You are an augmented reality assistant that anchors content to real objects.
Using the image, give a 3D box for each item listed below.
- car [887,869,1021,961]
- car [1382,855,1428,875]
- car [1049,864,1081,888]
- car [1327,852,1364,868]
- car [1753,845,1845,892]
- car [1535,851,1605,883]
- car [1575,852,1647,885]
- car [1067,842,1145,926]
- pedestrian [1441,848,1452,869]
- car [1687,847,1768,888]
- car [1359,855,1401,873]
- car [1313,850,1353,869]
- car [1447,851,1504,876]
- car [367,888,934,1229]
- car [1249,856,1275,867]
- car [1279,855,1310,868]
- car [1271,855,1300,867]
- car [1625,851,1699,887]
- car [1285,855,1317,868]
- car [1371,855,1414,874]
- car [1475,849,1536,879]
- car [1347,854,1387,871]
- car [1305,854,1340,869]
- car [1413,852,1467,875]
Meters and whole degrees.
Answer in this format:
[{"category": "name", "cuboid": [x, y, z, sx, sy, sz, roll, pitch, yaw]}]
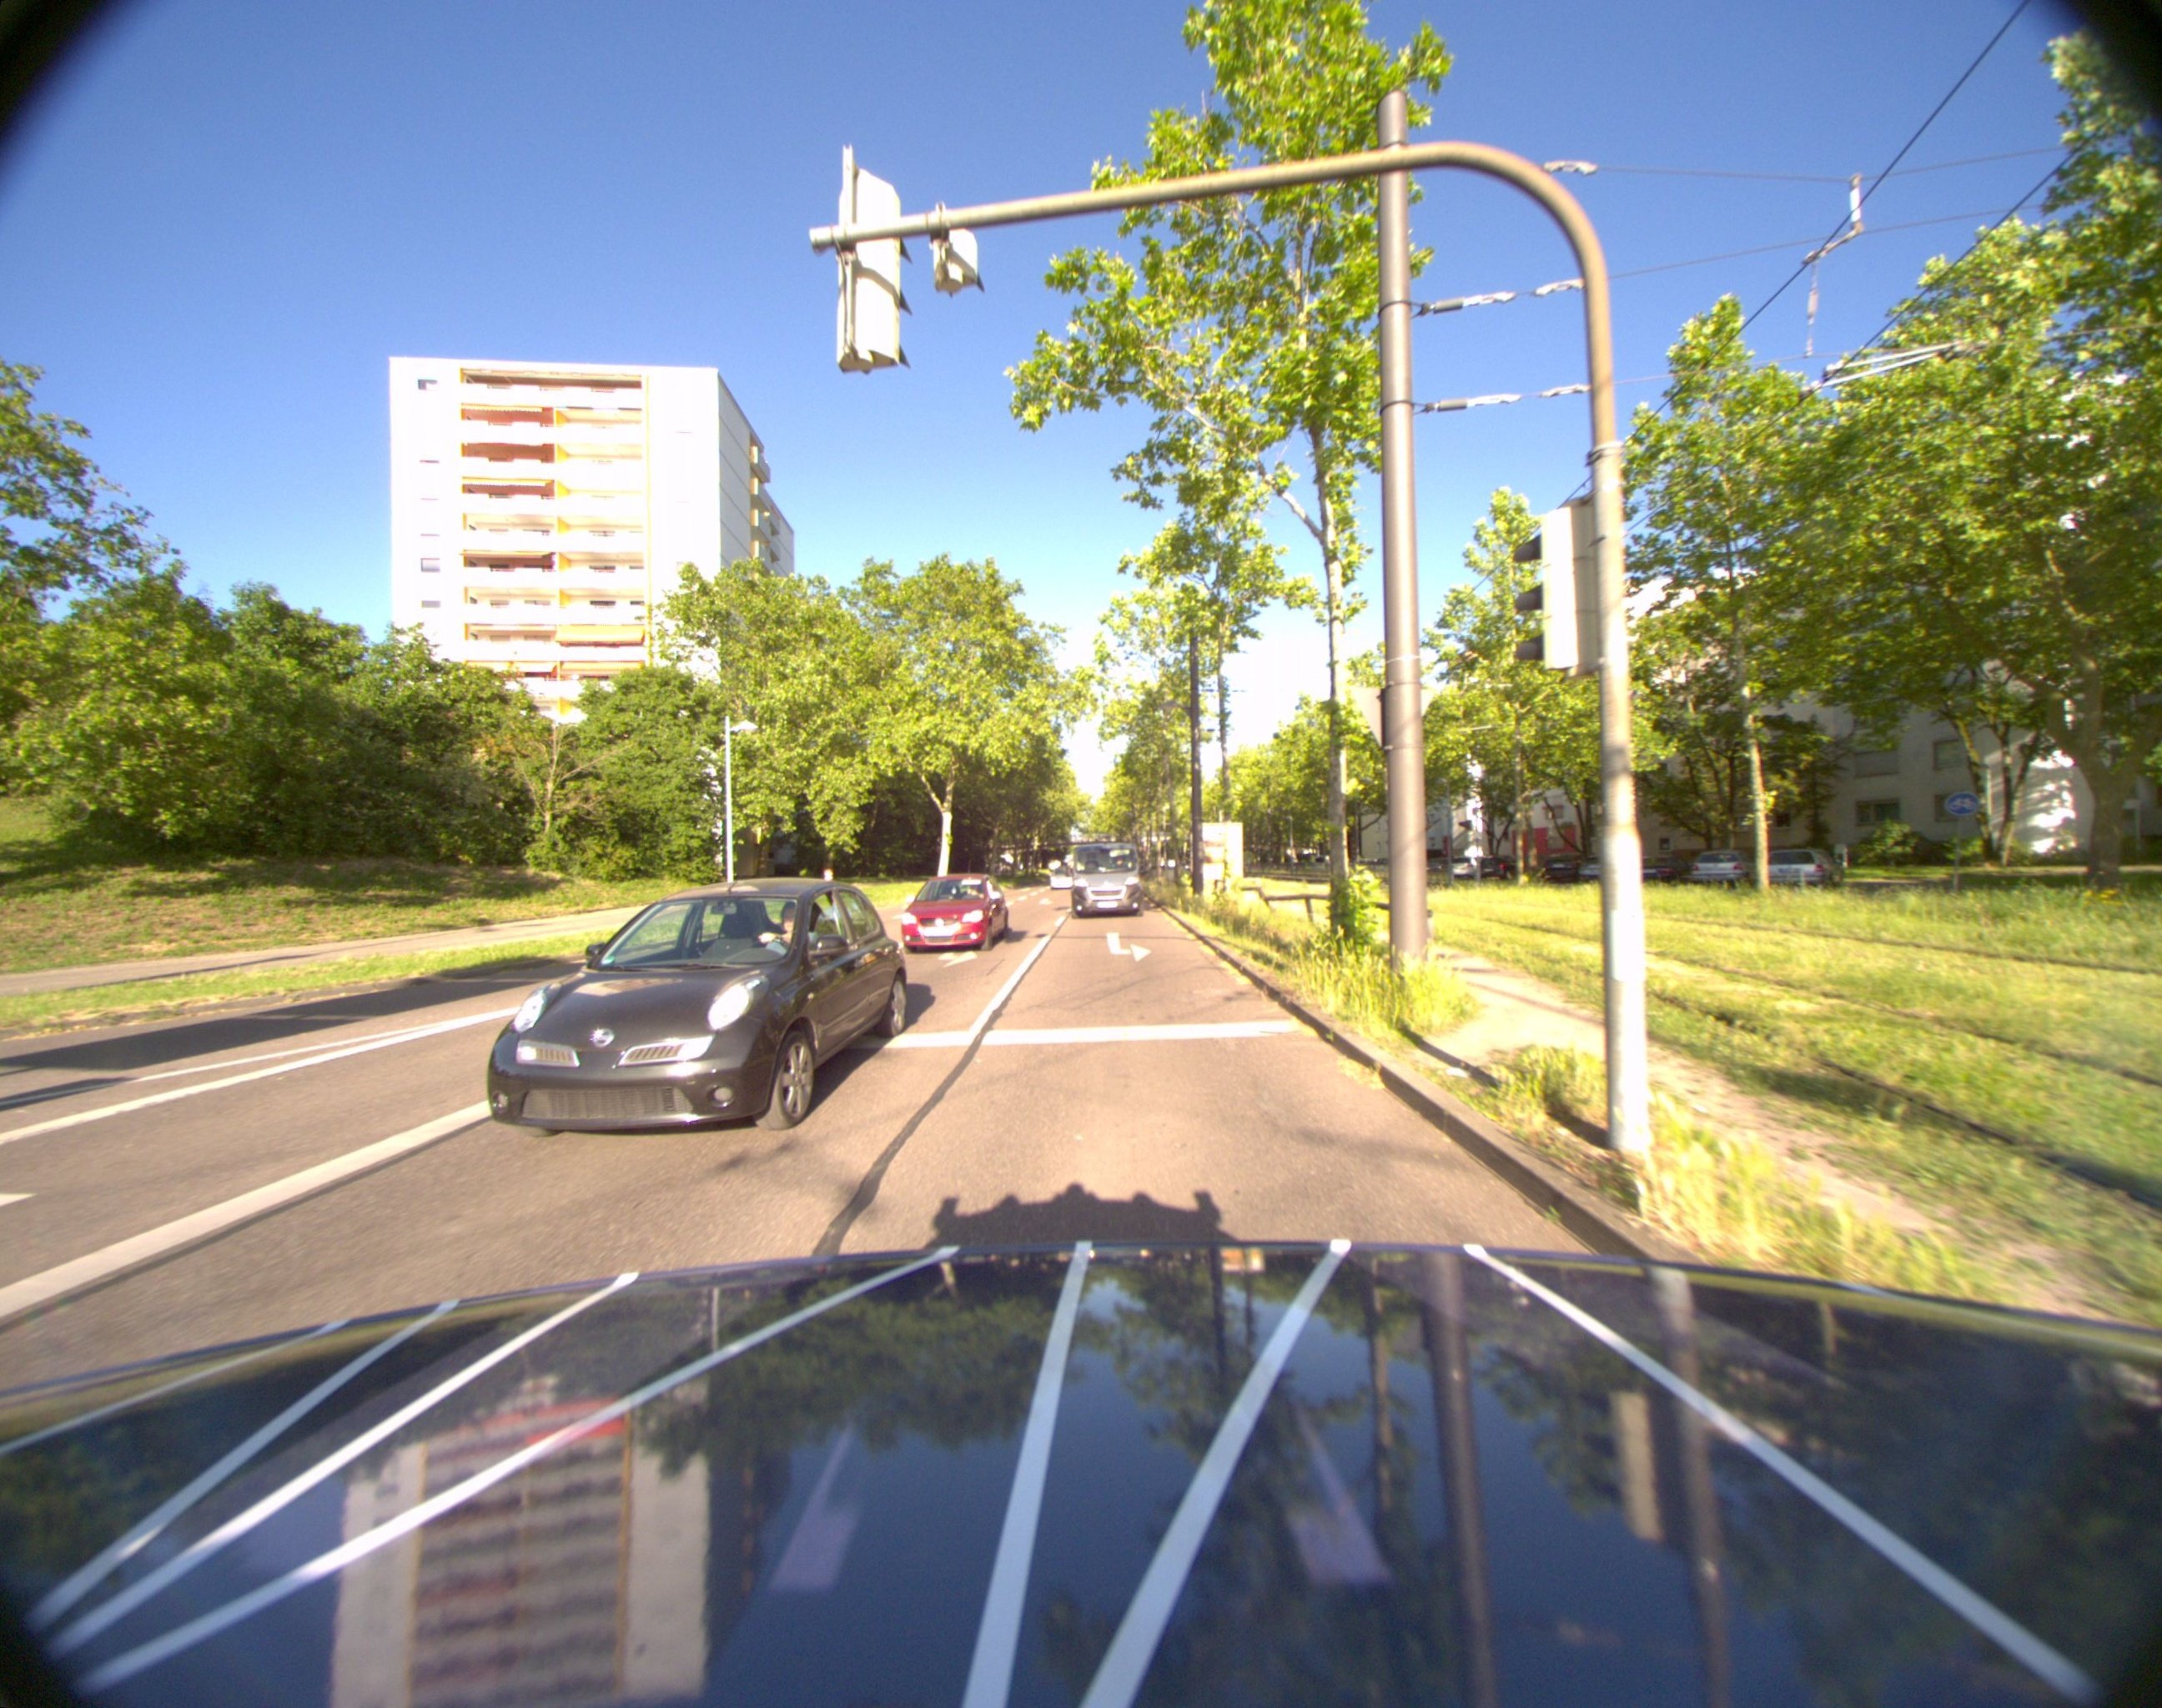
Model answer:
[{"category": "car", "cuboid": [-2.426, 1.118, 15.752, 1.771, 1.549, 4.728, -2, -1, 2]}, {"category": "car", "cuboid": [26.284, 0.870, 61.543, 4.057, 1.490, 1.791, -1, -1, -41]}, {"category": "car", "cuboid": [-1.184, 1.488, 52.581, 1.914, 1.549, 4.725, -2, -1, -5]}, {"category": "car", "cuboid": [27.093, 0.622, 77.721, 4.057, 1.490, 1.791, -1, -1, -41]}, {"category": "car", "cuboid": [25.051, 0.485, 26.471, 4.057, 1.478, 1.810, -1, -1, -40]}, {"category": "car", "cuboid": [25.592, 0.651, 39.696, 4.057, 1.490, 1.791, -1, -1, -38]}, {"category": "car", "cuboid": [25.560, 0.681, 36.590, 4.057, 1.379, 1.791, -1, -1, -40]}, {"category": "car", "cuboid": [0.708, 0.825, 23.119, 2.040, 2.191, 5.662, -2, 0, 1]}, {"category": "pedestrian", "cuboid": [35.070, 0.415, 72.887, 0.680, 2.002, 0.645, -2, 0, -2]}, {"category": "car", "cuboid": [25.670, 0.515, 30.127, 4.057, 1.478, 1.760, -1, -1, -40]}, {"category": "car", "cuboid": [26.963, 0.896, 68.555, 4.057, 1.490, 1.791, -1, -1, -41]}, {"category": "car", "cuboid": [26.744, 0.571, 80.670, 4.441, 1.907, 2.017, -1, -1, -41]}, {"category": "car", "cuboid": [26.137, 0.611, 50.306, 4.057, 1.490, 1.791, -1, -1, -38]}, {"category": "car", "cuboid": [-2.541, 1.096, 5.991, 1.739, 1.473, 4.623, -2, -1, 1]}, {"category": "car", "cuboid": [27.010, 1.156, 113.315, 4.057, 1.490, 1.791, -1, -1, -41]}, {"category": "car", "cuboid": [27.029, 0.930, 96.335, 4.057, 1.490, 1.791, -1, -1, -41]}, {"category": "car", "cuboid": [27.798, 0.975, 102.995, 4.057, 1.490, 1.791, -1, -1, -41]}, {"category": "car", "cuboid": [25.347, 0.634, 33.097, 4.057, 1.379, 1.673, -1, -1, -40]}, {"category": "car", "cuboid": [26.948, 0.891, 92.957, 4.057, 1.490, 1.791, -1, -1, -41]}, {"category": "car", "cuboid": [26.816, 0.869, 65.358, 4.057, 1.490, 1.791, -1, -1, -41]}, {"category": "car", "cuboid": [26.160, 0.590, 46.801, 4.057, 1.654, 1.791, -2, -1, -38]}, {"category": "car", "cuboid": [26.877, 0.795, 71.308, 4.057, 1.490, 1.791, -1, -1, -41]}, {"category": "car", "cuboid": [26.684, 0.823, 84.018, 4.057, 1.490, 1.791, -1, -1, -41]}, {"category": "car", "cuboid": [25.607, 0.650, 54.187, 4.057, 1.490, 1.791, -1, -1, -38]}]
